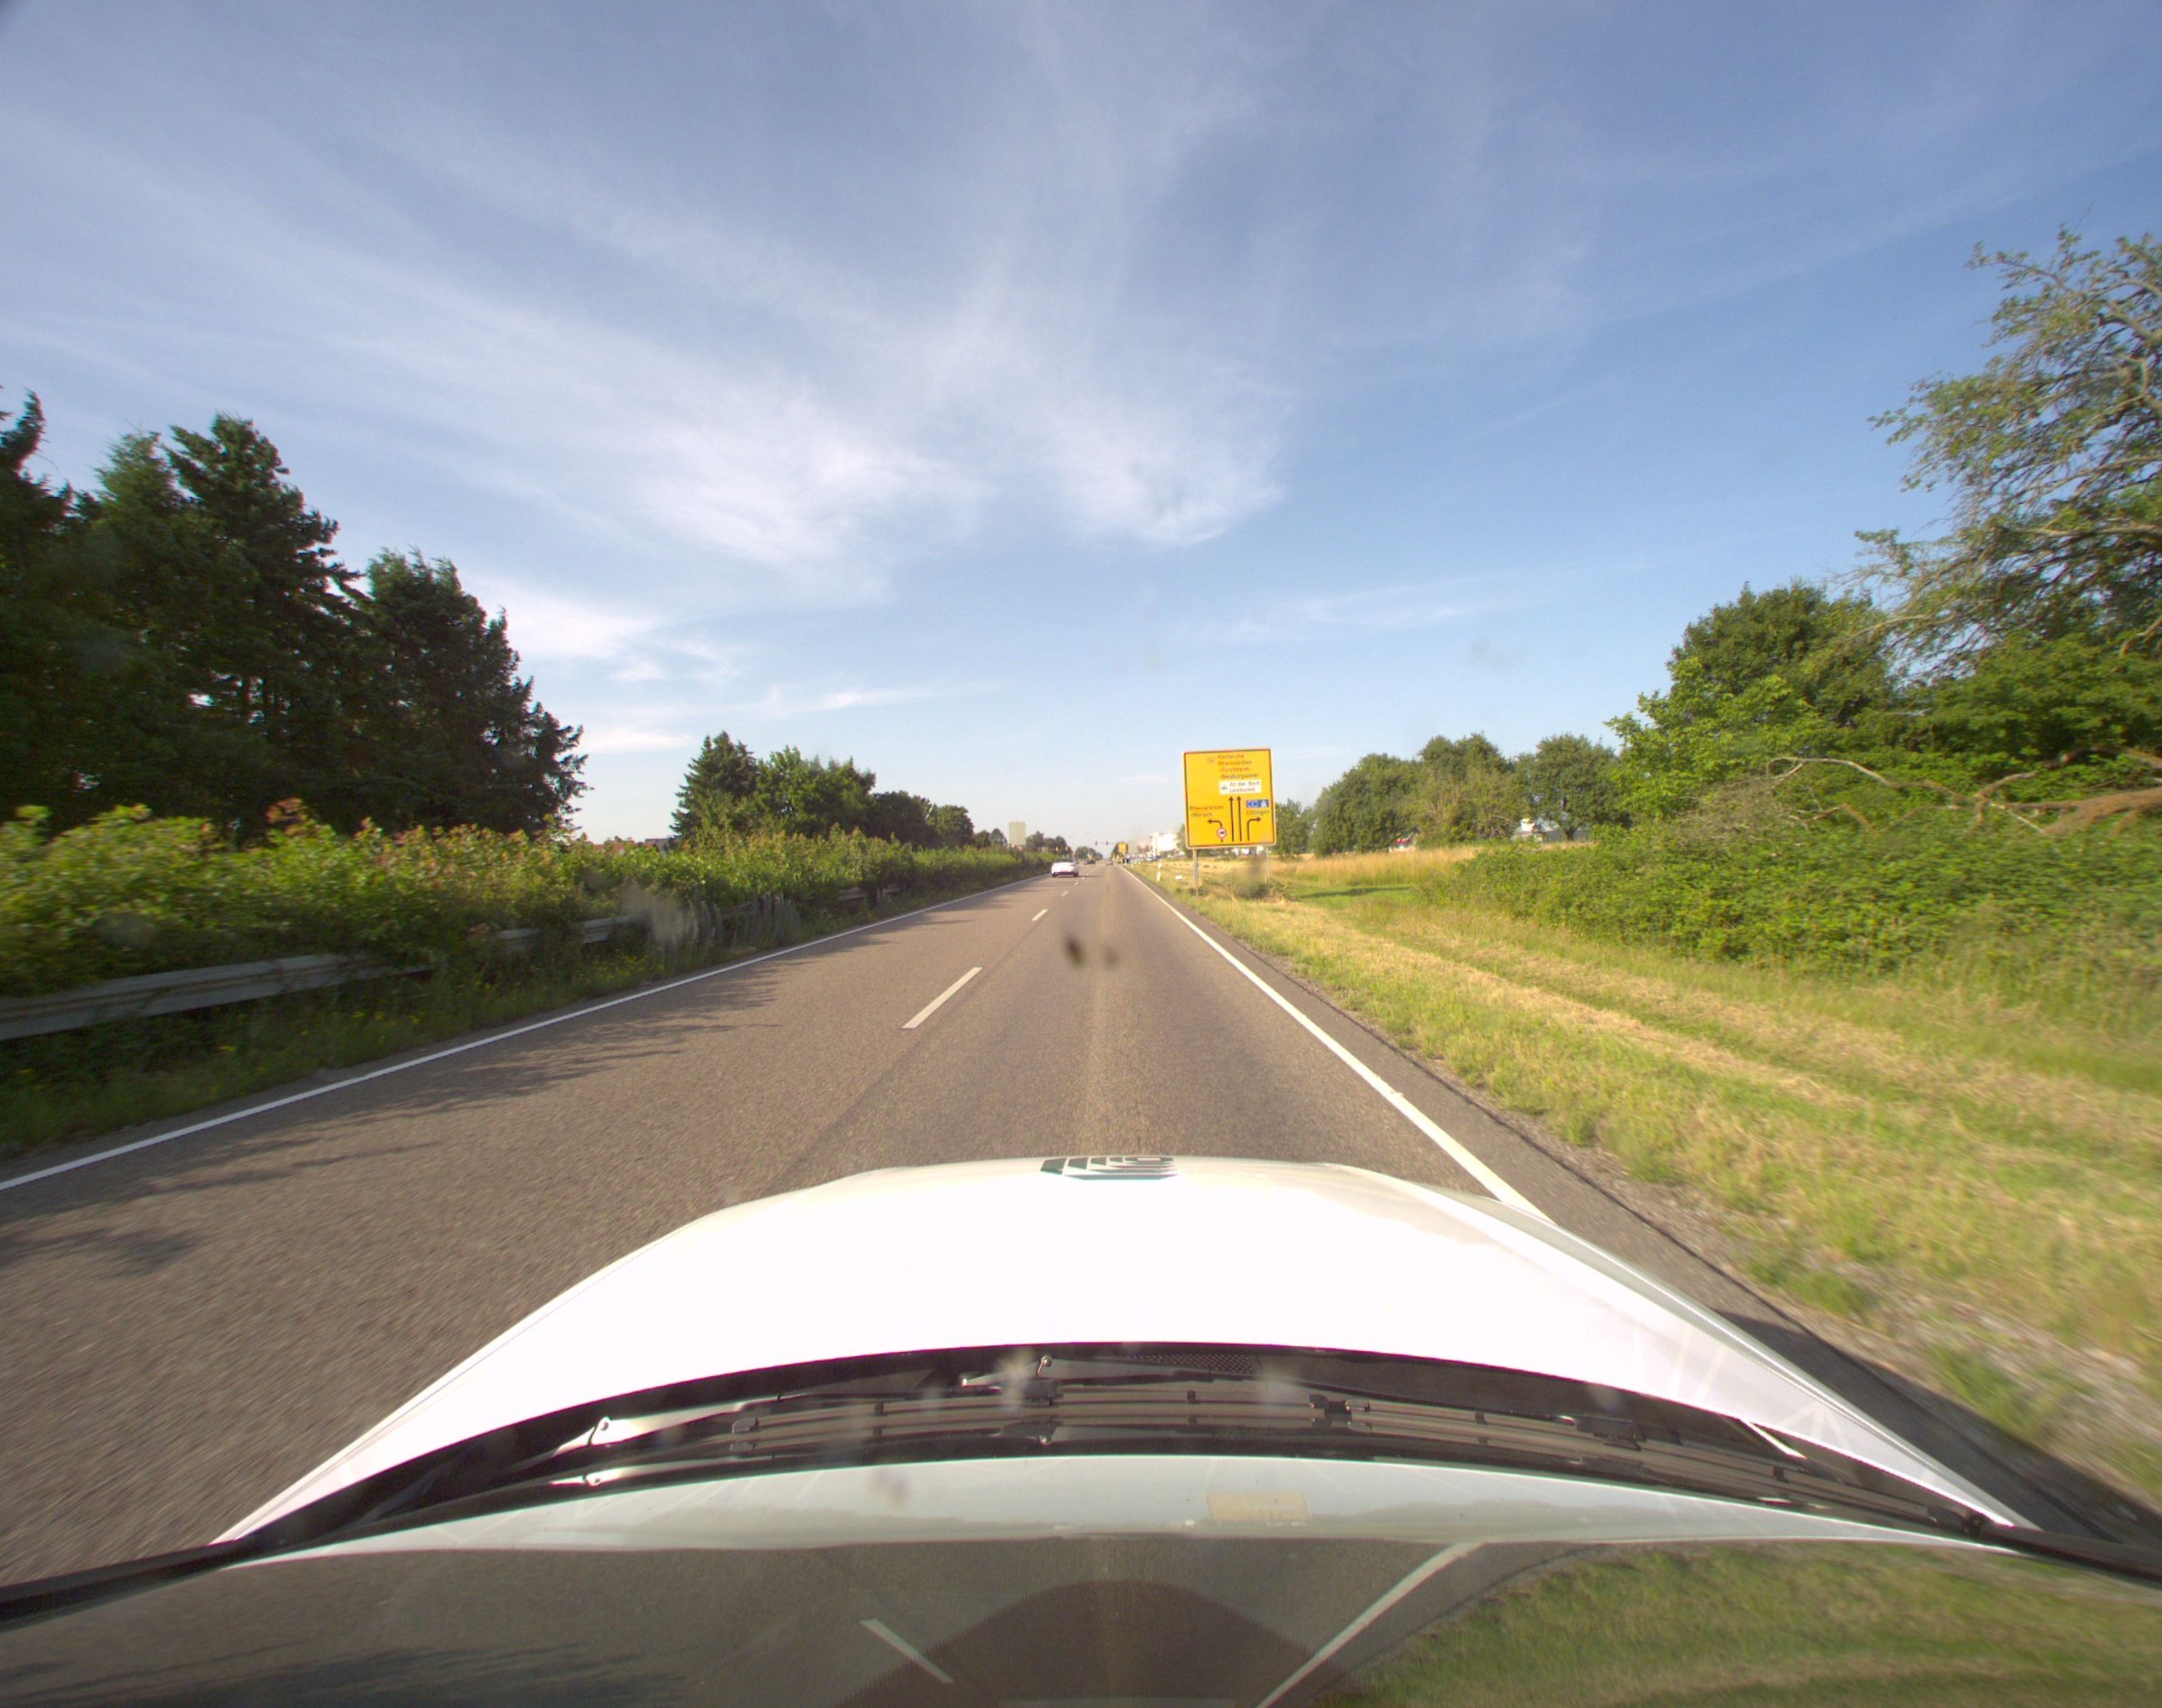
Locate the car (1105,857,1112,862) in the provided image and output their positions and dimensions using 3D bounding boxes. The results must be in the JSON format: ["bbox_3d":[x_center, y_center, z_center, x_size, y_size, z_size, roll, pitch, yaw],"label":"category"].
[{"bbox_3d":[7.610,1.500,223.956,1.986,1.486,4.001,-1,0,1],"label":"car"}]

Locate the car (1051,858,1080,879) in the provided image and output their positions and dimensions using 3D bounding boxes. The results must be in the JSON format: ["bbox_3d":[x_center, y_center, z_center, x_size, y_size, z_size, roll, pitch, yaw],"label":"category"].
[{"bbox_3d":[-1.089,1.053,59.791,1.903,1.422,4.001,-1,0,1],"label":"car"}]
